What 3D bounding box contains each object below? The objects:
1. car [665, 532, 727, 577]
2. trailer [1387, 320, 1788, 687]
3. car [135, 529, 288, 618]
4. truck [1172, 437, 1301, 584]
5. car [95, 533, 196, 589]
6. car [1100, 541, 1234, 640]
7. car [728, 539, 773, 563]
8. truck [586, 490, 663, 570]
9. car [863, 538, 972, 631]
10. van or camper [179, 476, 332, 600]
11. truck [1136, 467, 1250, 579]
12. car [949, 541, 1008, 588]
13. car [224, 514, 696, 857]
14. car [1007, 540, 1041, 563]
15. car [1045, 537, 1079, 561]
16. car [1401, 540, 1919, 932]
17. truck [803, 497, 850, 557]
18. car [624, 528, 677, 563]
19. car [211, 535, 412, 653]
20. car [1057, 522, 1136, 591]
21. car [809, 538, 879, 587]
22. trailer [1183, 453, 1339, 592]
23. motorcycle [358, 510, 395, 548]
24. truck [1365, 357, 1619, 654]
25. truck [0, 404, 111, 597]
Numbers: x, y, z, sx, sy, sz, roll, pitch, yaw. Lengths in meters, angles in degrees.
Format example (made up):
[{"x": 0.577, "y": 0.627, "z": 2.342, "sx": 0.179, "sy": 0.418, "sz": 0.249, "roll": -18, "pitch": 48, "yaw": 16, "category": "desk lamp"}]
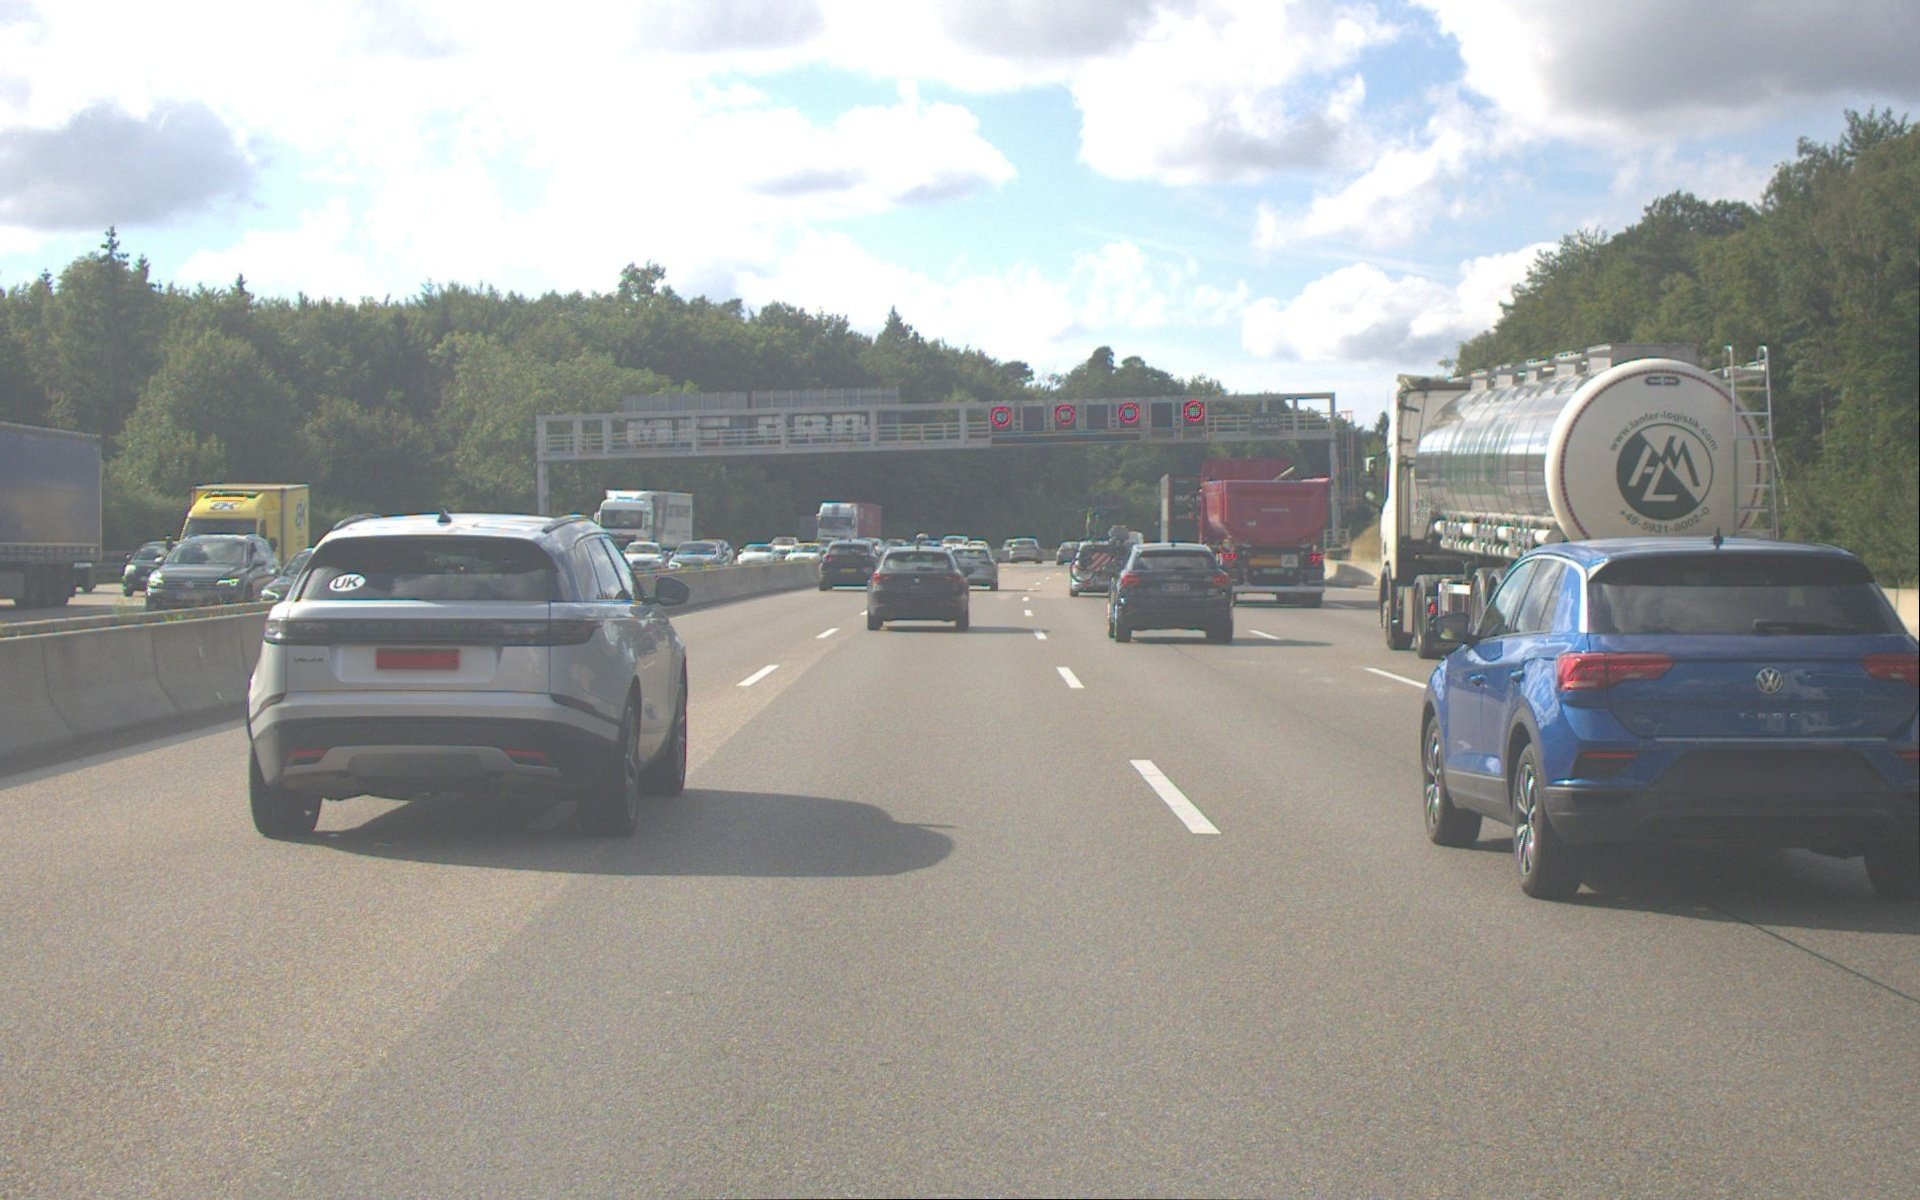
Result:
[{"x": -9.373, "y": -1.633, "z": 122.413, "sx": 1.863, "sy": 1.546, "sz": 4.662, "roll": 0, "pitch": 1, "yaw": 0, "category": "car"}, {"x": 7.182, "y": -1.101, "z": 41.254, "sx": 2.649, "sy": 3.754, "sz": 11.860, "roll": 0, "pitch": 1, "yaw": 0, "category": "trailer"}, {"x": -14.091, "y": -0.534, "z": 65.002, "sx": 1.844, "sy": 1.590, "sz": 4.914, "roll": -1, "pitch": 1, "yaw": -1, "category": "car"}, {"x": 7.208, "y": -2.350, "z": 90.336, "sx": 2.710, "sy": 3.706, "sz": 5.818, "roll": 1, "pitch": 1, "yaw": -2, "category": "truck"}, {"x": -21.737, "y": -1.065, "z": 91.903, "sx": 1.697, "sy": 1.465, "sz": 4.022, "roll": 0, "pitch": 1, "yaw": 1, "category": "car"}, {"x": 3.149, "y": -0.173, "z": 52.899, "sx": 1.822, "sy": 1.452, "sz": 4.000, "roll": 0, "pitch": 1, "yaw": 0, "category": "car"}, {"x": -10.520, "y": -2.484, "z": 172.729, "sx": 1.811, "sy": 1.157, "sz": 4.515, "roll": 0, "pitch": 1, "yaw": 2, "category": "car"}, {"x": -17.320, "y": -3.610, "z": 177.659, "sx": 3.317, "sy": 4.092, "sz": 6.225, "roll": 0, "pitch": 1, "yaw": 1, "category": "truck"}, {"x": -0.773, "y": -0.292, "z": 59.459, "sx": 1.822, "sy": 1.541, "sz": 4.000, "roll": 0, "pitch": 1, "yaw": -2, "category": "car"}, {"x": -17.214, "y": -1.525, "z": 84.331, "sx": 2.374, "sy": 2.882, "sz": 6.506, "roll": -1, "pitch": 1, "yaw": 0, "category": "van or camper"}, {"x": 8.416, "y": -2.796, "z": 125.658, "sx": 3.118, "sy": 3.921, "sz": 10.412, "roll": 0, "pitch": 1, "yaw": -2, "category": "truck"}, {"x": 0.580, "y": -1.142, "z": 109.545, "sx": 1.822, "sy": 1.452, "sz": 4.000, "roll": 1, "pitch": 1, "yaw": 0, "category": "car"}, {"x": -2.581, "y": 0.358, "z": 19.009, "sx": 2.006, "sy": 1.611, "sz": 5.301, "roll": 1, "pitch": 1, "yaw": -2, "category": "car"}, {"x": 4.227, "y": -3.231, "z": 227.547, "sx": 2.077, "sy": 1.452, "sz": 4.000, "roll": -1, "pitch": 1, "yaw": 4, "category": "car"}, {"x": 6.407, "y": -3.197, "z": 215.994, "sx": 2.077, "sy": 1.452, "sz": 4.000, "roll": -1, "pitch": 1, "yaw": 2, "category": "car"}, {"x": 3.238, "y": 0.506, "z": 15.940, "sx": 1.773, "sy": 1.525, "sz": 4.458, "roll": 1, "pitch": 1, "yaw": 0, "category": "car"}, {"x": -9.240, "y": -5.074, "z": 238.615, "sx": 2.739, "sy": 4.092, "sz": 5.764, "roll": 0, "pitch": 1, "yaw": 3, "category": "truck"}, {"x": -12.857, "y": -2.278, "z": 143.080, "sx": 1.769, "sy": 1.389, "sz": 4.691, "roll": 1, "pitch": 1, "yaw": 0, "category": "car"}, {"x": -10.996, "y": -0.141, "z": 58.683, "sx": 2.171, "sy": 1.872, "sz": 5.362, "roll": -1, "pitch": 1, "yaw": 3, "category": "car"}, {"x": 3.805, "y": -1.234, "z": 96.253, "sx": 1.893, "sy": 1.850, "sz": 4.101, "roll": 1, "pitch": 1, "yaw": -2, "category": "car"}, {"x": -3.621, "y": -1.201, "z": 107.747, "sx": 1.942, "sy": 1.452, "sz": 4.000, "roll": -1, "pitch": 1, "yaw": 1, "category": "car"}, {"x": 7.354, "y": -1.941, "z": 85.319, "sx": 2.710, "sy": 3.220, "sz": 9.734, "roll": 1, "pitch": 1, "yaw": -2, "category": "trailer"}, {"x": -16.467, "y": -1.999, "z": 97.054, "sx": 0.610, "sy": 1.036, "sz": 2.175, "roll": 0, "pitch": 1, "yaw": 2, "category": "motorcycle"}, {"x": 7.216, "y": -1.274, "z": 47.371, "sx": 2.649, "sy": 3.810, "sz": 6.082, "roll": 0, "pitch": 1, "yaw": 1, "category": "truck"}, {"x": -21.692, "y": -2.156, "z": 75.141, "sx": 2.819, "sy": 4.080, "sz": 13.846, "roll": 0, "pitch": 1, "yaw": 0, "category": "truck"}]
